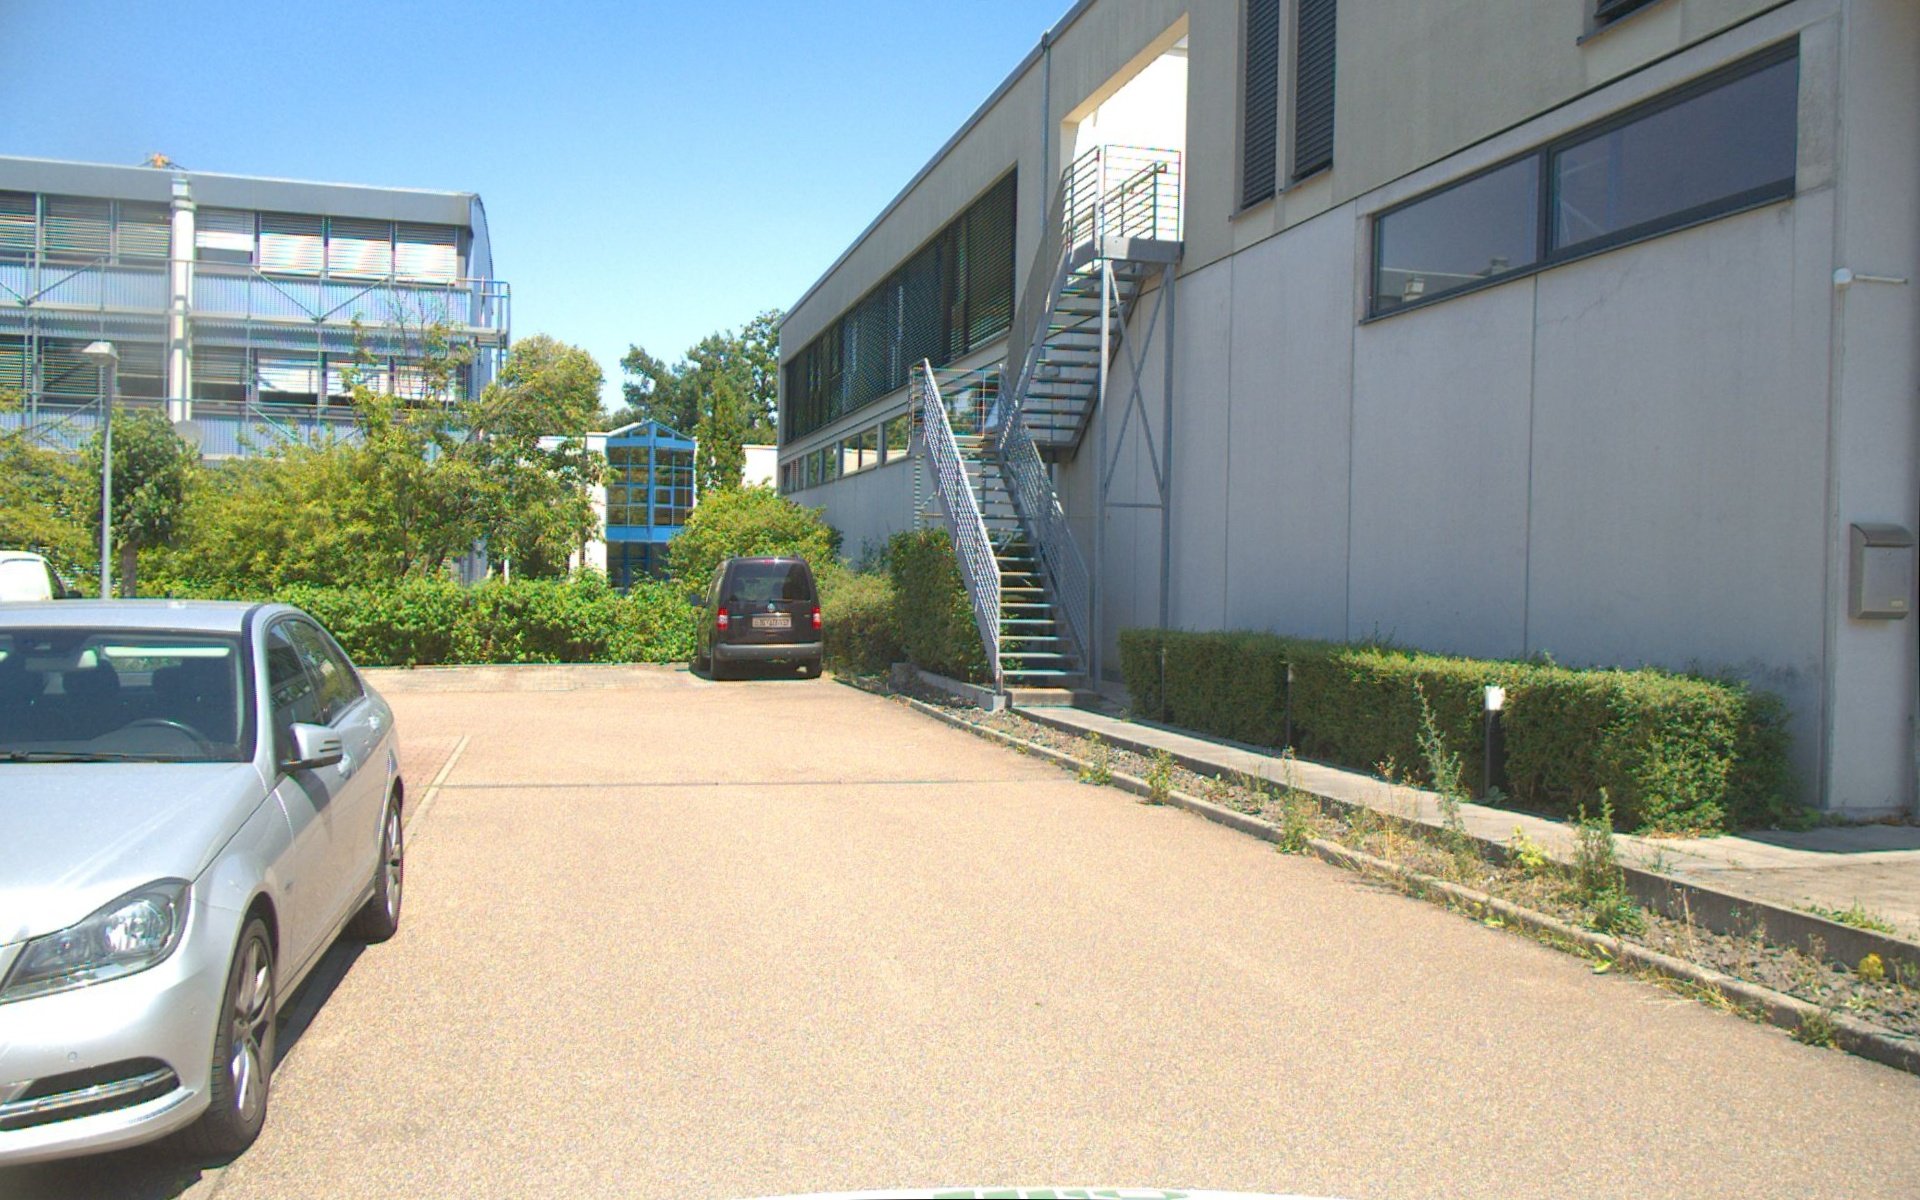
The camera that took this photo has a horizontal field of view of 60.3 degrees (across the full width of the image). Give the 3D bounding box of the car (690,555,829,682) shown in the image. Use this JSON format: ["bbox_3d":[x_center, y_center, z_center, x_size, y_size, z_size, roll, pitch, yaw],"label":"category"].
[{"bbox_3d":[-3.298,0.238,26.617,1.714,1.869,3.985,0,1,-15],"label":"car"}]

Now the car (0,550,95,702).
[{"bbox_3d":[-13.743,0.278,23.178,1.882,1.938,4.788,-1,2,-16],"label":"car"}]

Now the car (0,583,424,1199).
[{"bbox_3d":[-2.879,0.699,5.351,1.698,1.482,4.136,0,0,-12],"label":"car"}]
